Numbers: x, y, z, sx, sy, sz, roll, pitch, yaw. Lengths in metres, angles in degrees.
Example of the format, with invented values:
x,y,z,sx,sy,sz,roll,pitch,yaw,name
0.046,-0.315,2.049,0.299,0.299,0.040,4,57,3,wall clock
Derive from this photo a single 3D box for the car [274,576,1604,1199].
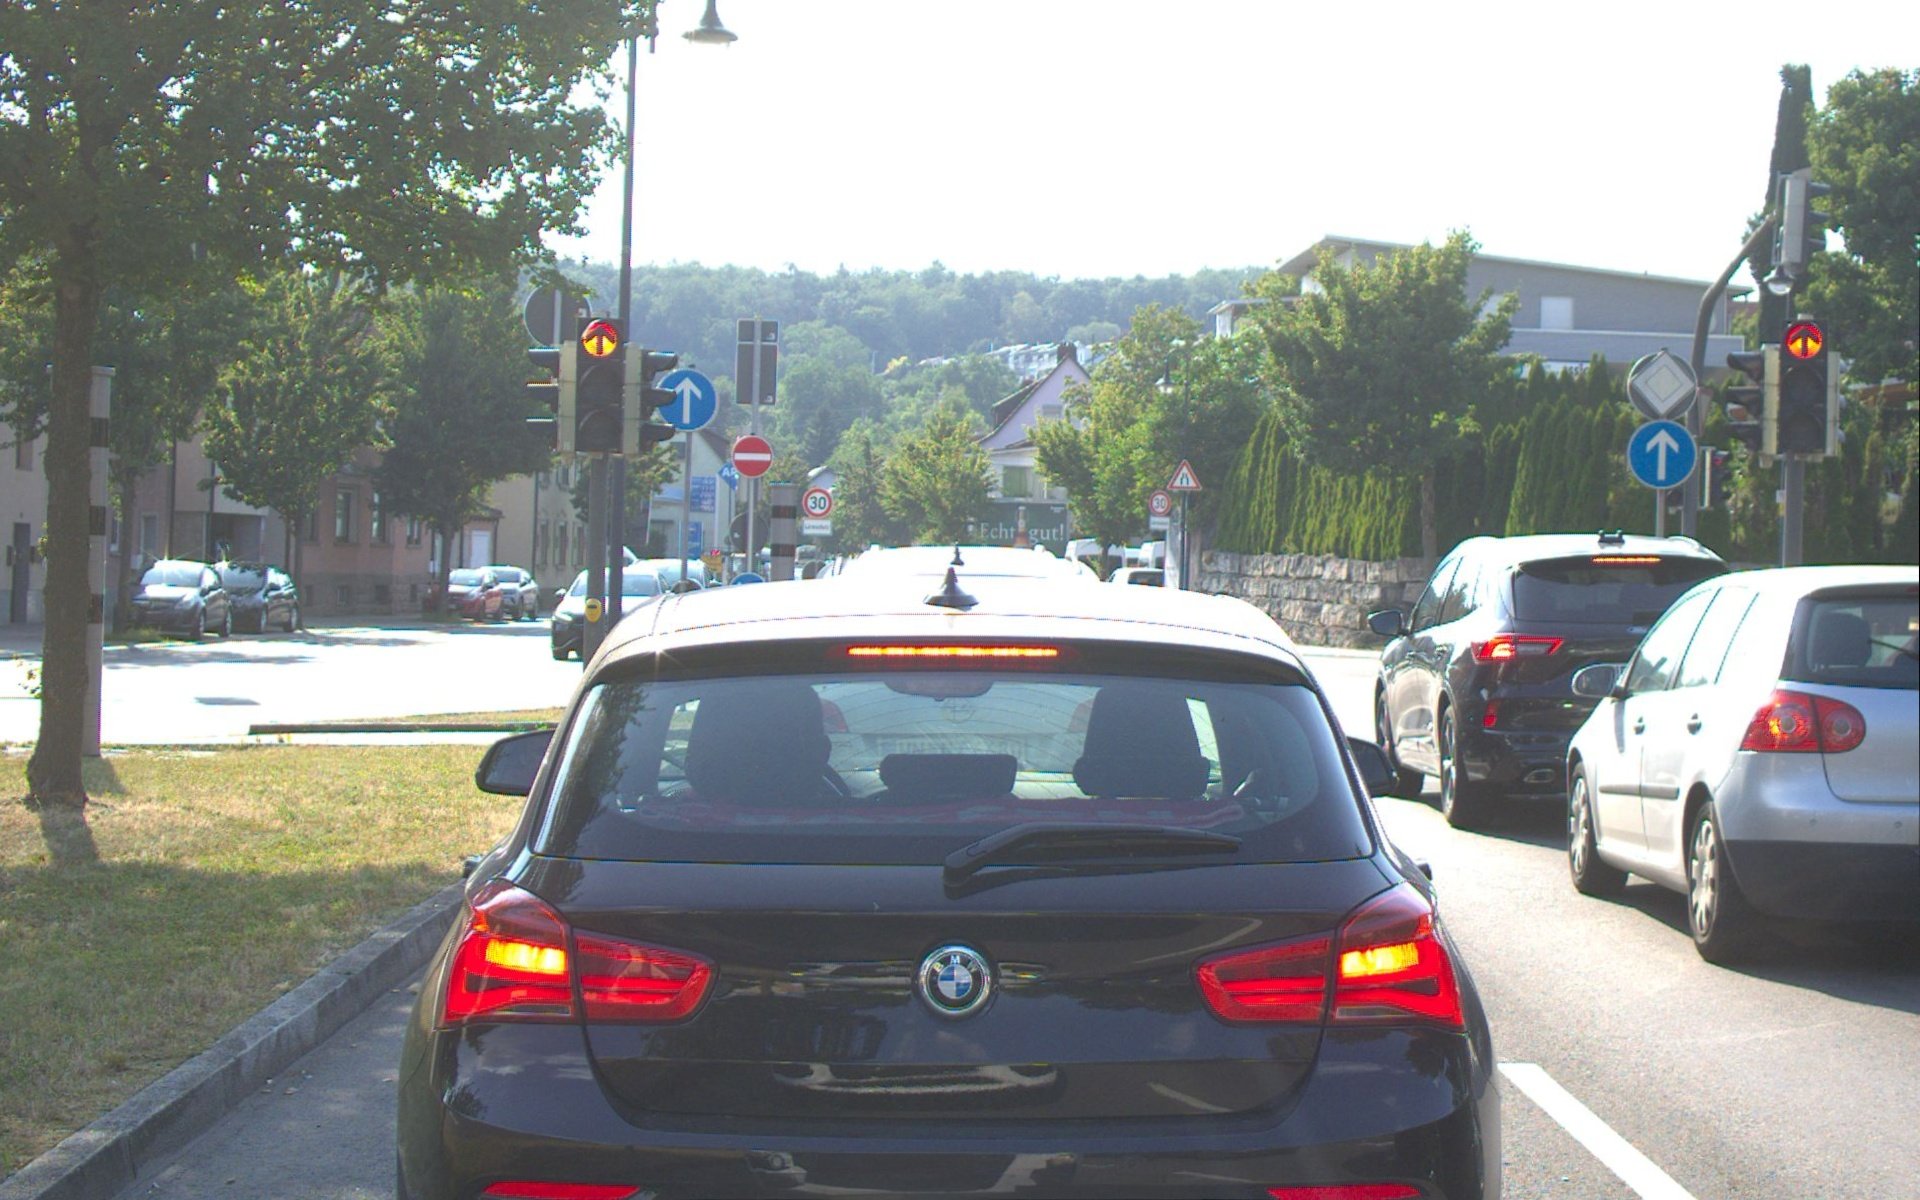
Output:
x,y,z,sx,sy,sz,roll,pitch,yaw,name
0.001,0.687,6.825,1.791,1.410,4.347,1,1,1,car

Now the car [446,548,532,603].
x,y,z,sx,sy,sz,roll,pitch,yaw,name
-14.070,-0.741,102.835,1.924,1.590,4.000,1,1,1,car

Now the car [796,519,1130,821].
x,y,z,sx,sy,sz,roll,pitch,yaw,name
0.051,0.350,20.991,1.816,1.635,4.242,1,1,1,car

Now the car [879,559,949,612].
x,y,z,sx,sy,sz,roll,pitch,yaw,name
-1.533,-0.509,113.356,1.890,1.696,4.525,-1,1,-6,car

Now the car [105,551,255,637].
x,y,z,sx,sy,sz,roll,pitch,yaw,name
-15.166,-0.133,67.057,1.924,1.590,4.000,1,1,1,car

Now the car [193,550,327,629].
x,y,z,sx,sy,sz,roll,pitch,yaw,name
-14.797,-0.247,72.864,1.924,1.590,4.000,1,1,1,car

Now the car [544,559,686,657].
x,y,z,sx,sy,sz,roll,pitch,yaw,name
-5.464,0.102,54.849,1.766,1.453,4.000,1,1,1,car

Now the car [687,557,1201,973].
x,y,z,sx,sy,sz,roll,pitch,yaw,name
-0.023,0.561,14.367,1.816,1.446,4.242,1,1,1,car

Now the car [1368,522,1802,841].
x,y,z,sx,sy,sz,roll,pitch,yaw,name
3.553,0.396,20.306,1.816,1.660,4.347,1,1,1,car

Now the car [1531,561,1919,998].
x,y,z,sx,sy,sz,roll,pitch,yaw,name
3.525,0.585,13.731,1.816,1.441,4.347,1,1,1,car

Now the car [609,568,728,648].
x,y,z,sx,sy,sz,roll,pitch,yaw,name
-5.230,0.121,62.096,1.693,1.348,4.000,1,1,1,car

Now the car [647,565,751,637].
x,y,z,sx,sy,sz,roll,pitch,yaw,name
-5.229,0.003,69.256,1.693,1.348,4.000,1,1,1,car

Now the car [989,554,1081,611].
x,y,z,sx,sy,sz,roll,pitch,yaw,name
2.006,-0.491,92.826,1.861,1.480,4.660,1,1,-6,car

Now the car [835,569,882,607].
x,y,z,sx,sy,sz,roll,pitch,yaw,name
-4.422,-0.527,150.239,1.924,1.590,4.000,1,1,-1,car

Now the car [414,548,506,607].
x,y,z,sx,sy,sz,roll,pitch,yaw,name
-14.135,-0.651,97.330,1.924,1.590,4.000,1,1,1,car
